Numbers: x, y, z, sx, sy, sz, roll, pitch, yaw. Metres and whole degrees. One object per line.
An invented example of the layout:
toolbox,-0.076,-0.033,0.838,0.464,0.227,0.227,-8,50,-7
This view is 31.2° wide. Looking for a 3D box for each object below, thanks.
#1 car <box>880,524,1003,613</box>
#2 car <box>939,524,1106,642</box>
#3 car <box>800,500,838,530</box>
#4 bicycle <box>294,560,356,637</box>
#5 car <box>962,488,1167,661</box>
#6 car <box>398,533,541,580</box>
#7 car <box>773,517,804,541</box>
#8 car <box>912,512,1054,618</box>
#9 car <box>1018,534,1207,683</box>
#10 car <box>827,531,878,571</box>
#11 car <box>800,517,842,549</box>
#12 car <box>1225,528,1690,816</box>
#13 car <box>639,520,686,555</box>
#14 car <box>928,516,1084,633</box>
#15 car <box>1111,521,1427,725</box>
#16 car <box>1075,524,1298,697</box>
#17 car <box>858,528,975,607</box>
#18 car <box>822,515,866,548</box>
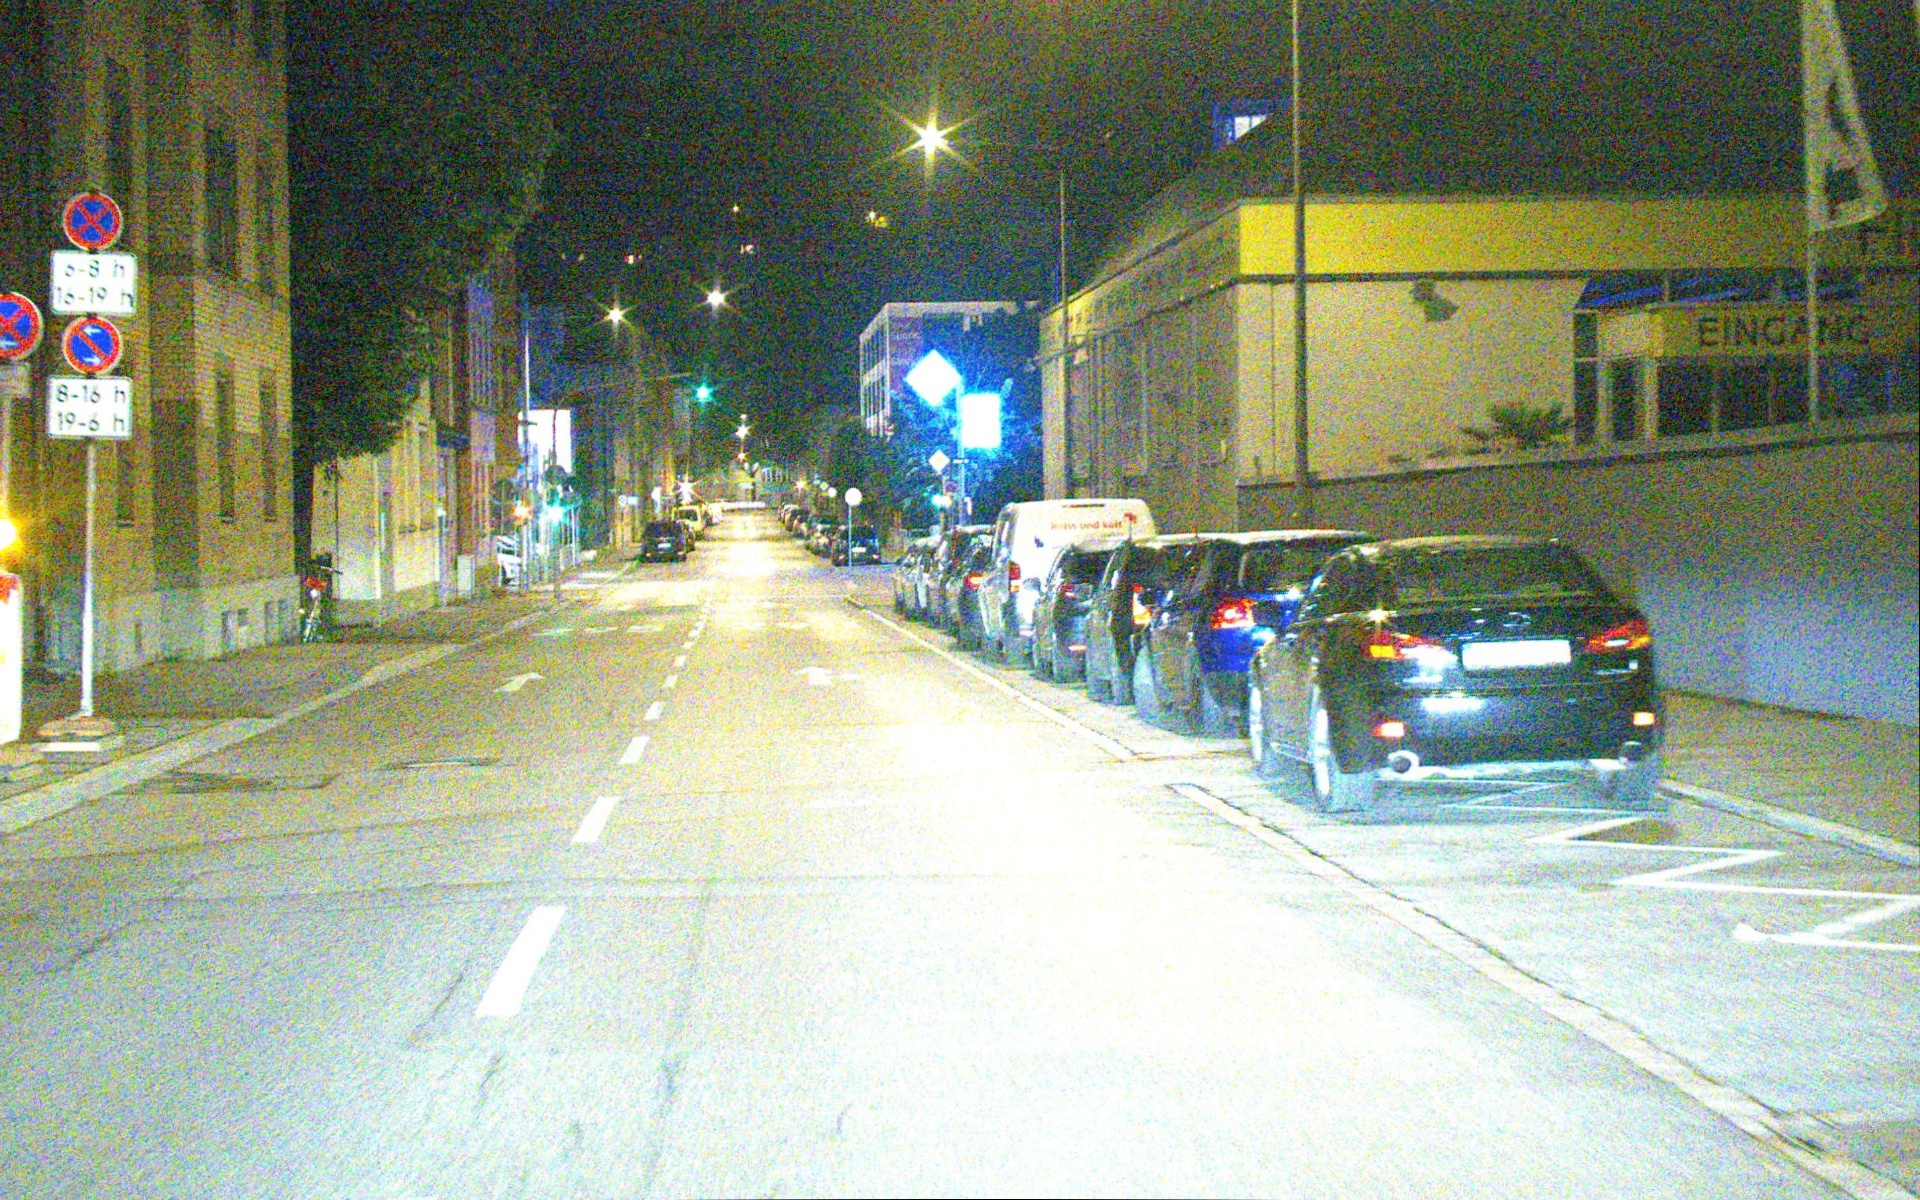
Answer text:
car,-0.372,-0.577,62.272,1.774,1.539,4.547,-1,1,-6
car,0.795,-0.266,46.202,1.816,1.422,4.189,-2,2,-4
car,-7.540,-4.532,184.057,1.993,1.515,4.000,-1,1,-2
bicycle,-8.929,-0.032,48.399,0.619,1.048,1.722,-1,1,-3
car,1.194,-0.350,41.440,1.800,1.868,4.775,-3,2,-5
car,-15.911,-1.407,111.603,4.438,1.444,2.000,-1,1,-4
car,-11.549,-4.790,232.091,1.993,1.515,4.000,-1,1,-2
car,0.334,-0.608,56.444,1.823,1.617,4.459,-2,2,-6
car,1.538,0.058,35.907,1.595,1.462,3.892,-1,1,-3
car,-4.269,-1.956,136.069,1.993,1.511,4.001,0,1,-2
car,-6.719,-3.249,166.744,1.993,1.515,4.000,-1,1,-2
car,2.662,0.331,19.430,1.778,1.422,4.481,-1,1,-3
car,-13.311,-2.798,154.065,1.993,1.497,4.001,-1,1,-3
car,0.638,-0.420,51.043,1.823,1.583,4.629,-2,2,-5
car,2.264,0.137,26.160,1.778,1.422,3.892,-1,1,-4
car,2.010,0.065,31.375,1.595,1.462,3.719,-1,1,-3
car,-0.889,-0.642,67.257,1.859,1.484,4.547,-1,1,-6
car,-5.412,-3.181,160.202,1.993,1.515,4.000,-1,1,-2
